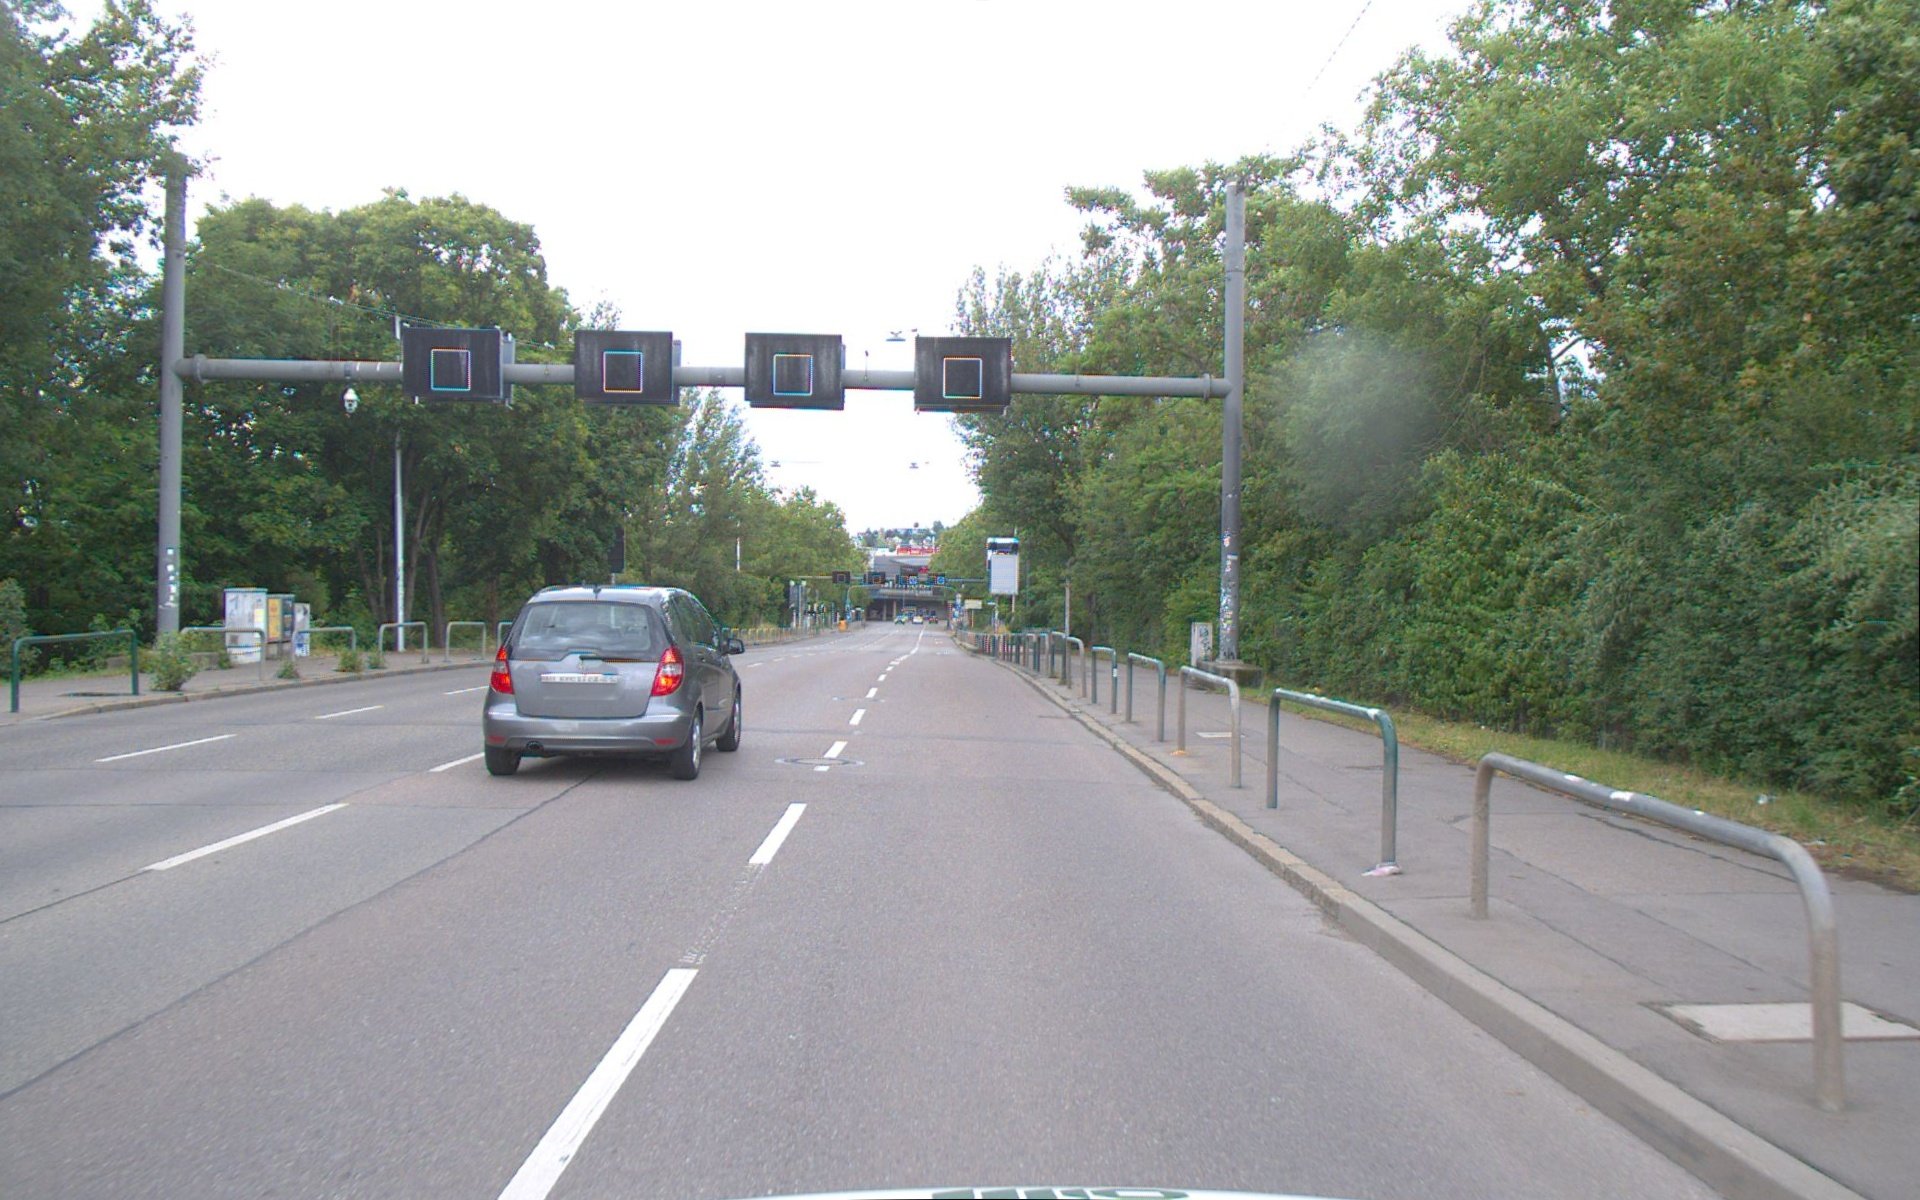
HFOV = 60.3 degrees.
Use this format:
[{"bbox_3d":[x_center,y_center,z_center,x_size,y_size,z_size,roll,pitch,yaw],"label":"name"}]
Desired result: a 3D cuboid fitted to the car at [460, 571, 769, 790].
[{"bbox_3d":[-2.933,0.687,14.964,1.788,1.645,4.034,2,-2,1],"label":"car"}]
